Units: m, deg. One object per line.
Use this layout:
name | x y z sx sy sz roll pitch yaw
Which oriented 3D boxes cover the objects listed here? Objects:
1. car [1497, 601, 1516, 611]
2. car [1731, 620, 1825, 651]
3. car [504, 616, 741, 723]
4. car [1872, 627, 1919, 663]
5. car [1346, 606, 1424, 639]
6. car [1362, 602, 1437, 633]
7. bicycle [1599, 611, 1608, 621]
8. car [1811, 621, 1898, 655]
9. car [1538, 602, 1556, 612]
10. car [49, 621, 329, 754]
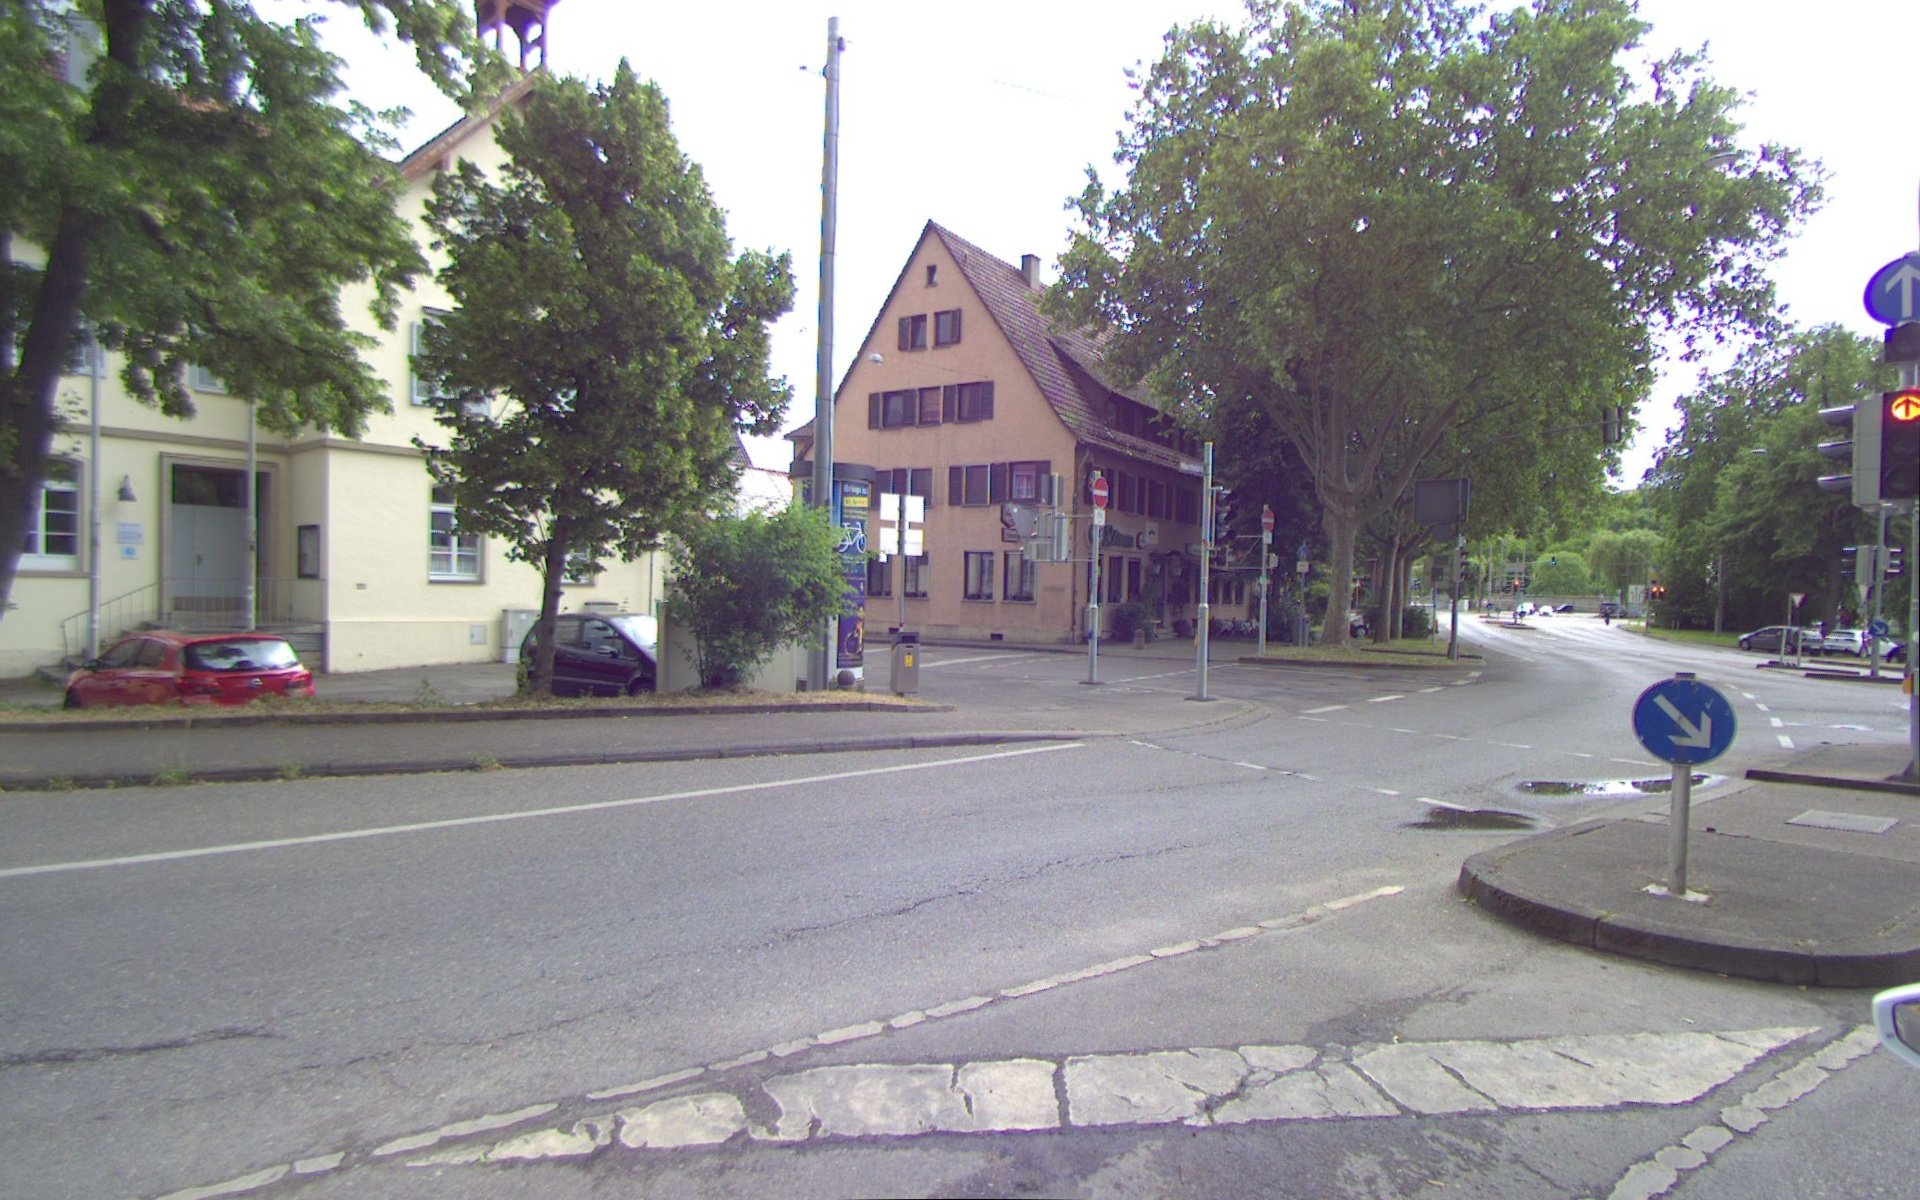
car | 85.275 0.894 156.742 1.553 1.506 3.337 3 0 12
car | 43.817 1.872 53.913 1.592 1.485 3.778 2 0 -11
car | -5.527 1.056 16.438 3.507 1.459 1.644 2 0 26
car | 39.447 1.856 40.769 1.746 1.370 3.326 2 0 -2
car | 23.995 1.248 56.709 3.924 1.706 1.998 1 0 25
car | 25.727 1.004 58.786 3.924 1.706 1.998 1 0 25
bicycle | 62.822 1.558 98.073 0.549 0.971 2.025 2 0 37
car | 47.461 2.033 53.332 3.696 1.662 1.859 2 0 -19
car | 90.783 1.112 155.397 1.469 1.436 3.028 3 0 12
car | -10.256 1.053 13.327 3.653 1.401 1.659 2 0 30
